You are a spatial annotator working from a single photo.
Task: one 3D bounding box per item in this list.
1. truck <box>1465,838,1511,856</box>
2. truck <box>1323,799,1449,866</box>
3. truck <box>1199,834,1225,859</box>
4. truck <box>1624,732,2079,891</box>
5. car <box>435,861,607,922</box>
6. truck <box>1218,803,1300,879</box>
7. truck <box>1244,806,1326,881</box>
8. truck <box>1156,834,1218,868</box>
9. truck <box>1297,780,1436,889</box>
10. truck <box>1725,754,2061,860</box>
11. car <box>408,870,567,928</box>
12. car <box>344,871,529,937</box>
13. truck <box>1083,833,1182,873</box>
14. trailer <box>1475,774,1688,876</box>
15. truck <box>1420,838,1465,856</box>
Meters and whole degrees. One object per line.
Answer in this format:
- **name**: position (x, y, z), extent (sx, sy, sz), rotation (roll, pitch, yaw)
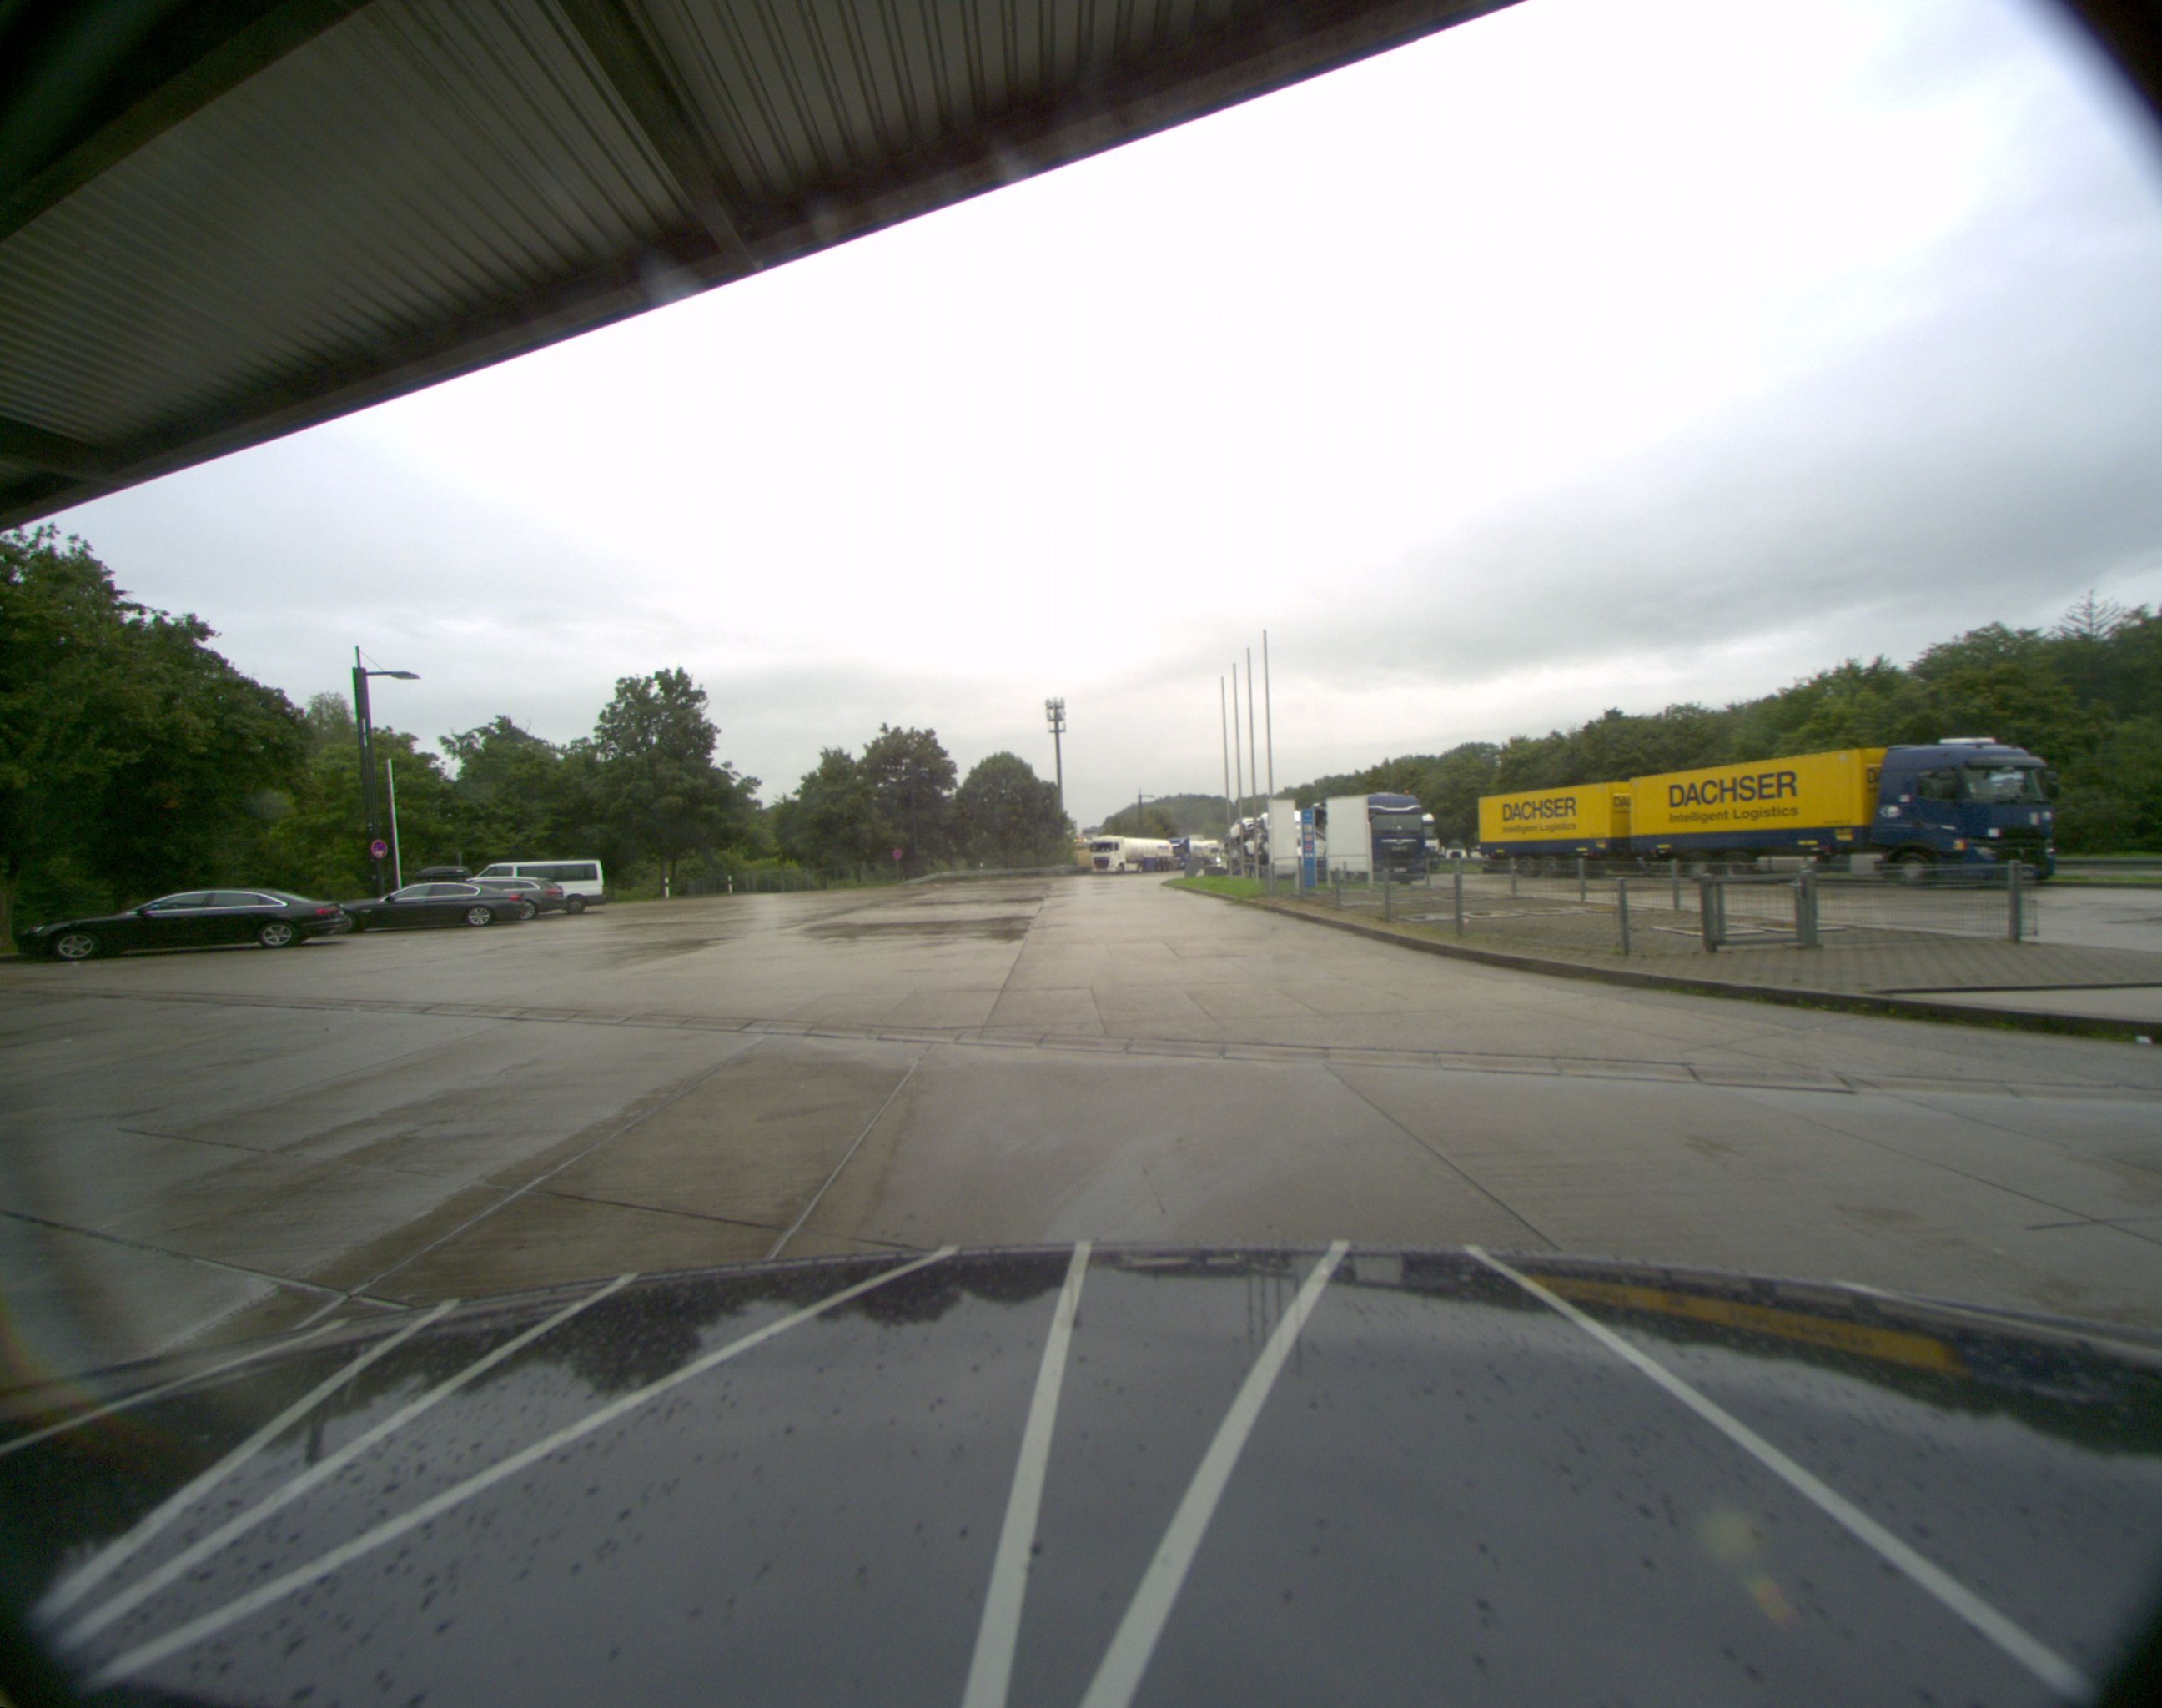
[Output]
- **truck**: position (52.513, -0.873, 98.196), extent (2.082, 2.112, 5.827), rotation (-2, 1, -10)
- **truck**: position (19.879, -1.294, 50.574), extent (2.757, 3.894, 10.678), rotation (-2, 1, -8)
- **truck**: position (22.794, -1.356, 132.801), extent (3.143, 4.105, 11.523), rotation (-2, 1, 3)
- **truck**: position (23.151, -1.120, 24.332), extent (2.757, 3.894, 10.678), rotation (-2, 1, -8)
- **car**: position (-20.430, 1.289, 27.998), extent (4.898, 1.938, 2.310), rotation (-2, 0, -35)
- **truck**: position (10.567, -0.722, 45.783), extent (2.665, 4.157, 6.618), rotation (-2, 1, -6)
- **truck**: position (11.043, -0.554, 41.592), extent (2.665, 3.750, 4.747), rotation (-2, 1, -6)
- **truck**: position (12.775, -0.401, 89.694), extent (3.506, 3.584, 14.685), rotation (-2, 0, 23)
- **truck**: position (12.181, -0.791, 33.185), extent (2.665, 4.157, 7.103), rotation (-2, 0, -6)
- **truck**: position (33.908, -1.752, 32.719), extent (2.421, 3.785, 10.223), rotation (-2, 1, -10)
- **car**: position (-19.474, 1.429, 25.161), extent (4.007, 1.650, 1.596), rotation (-2, 0, -35)
- **car**: position (-18.878, 1.396, 22.509), extent (4.007, 1.650, 1.596), rotation (-2, 0, -35)
- **truck**: position (5.448, -0.159, 75.213), extent (3.505, 3.584, 14.426), rotation (-2, 0, 31)
- **trailer**: position (21.789, -1.178, 33.953), extent (2.757, 3.894, 8.700), rotation (-2, 1, -9)
- **truck**: position (45.080, -0.847, 94.909), extent (2.082, 2.112, 5.827), rotation (-2, 1, -10)
